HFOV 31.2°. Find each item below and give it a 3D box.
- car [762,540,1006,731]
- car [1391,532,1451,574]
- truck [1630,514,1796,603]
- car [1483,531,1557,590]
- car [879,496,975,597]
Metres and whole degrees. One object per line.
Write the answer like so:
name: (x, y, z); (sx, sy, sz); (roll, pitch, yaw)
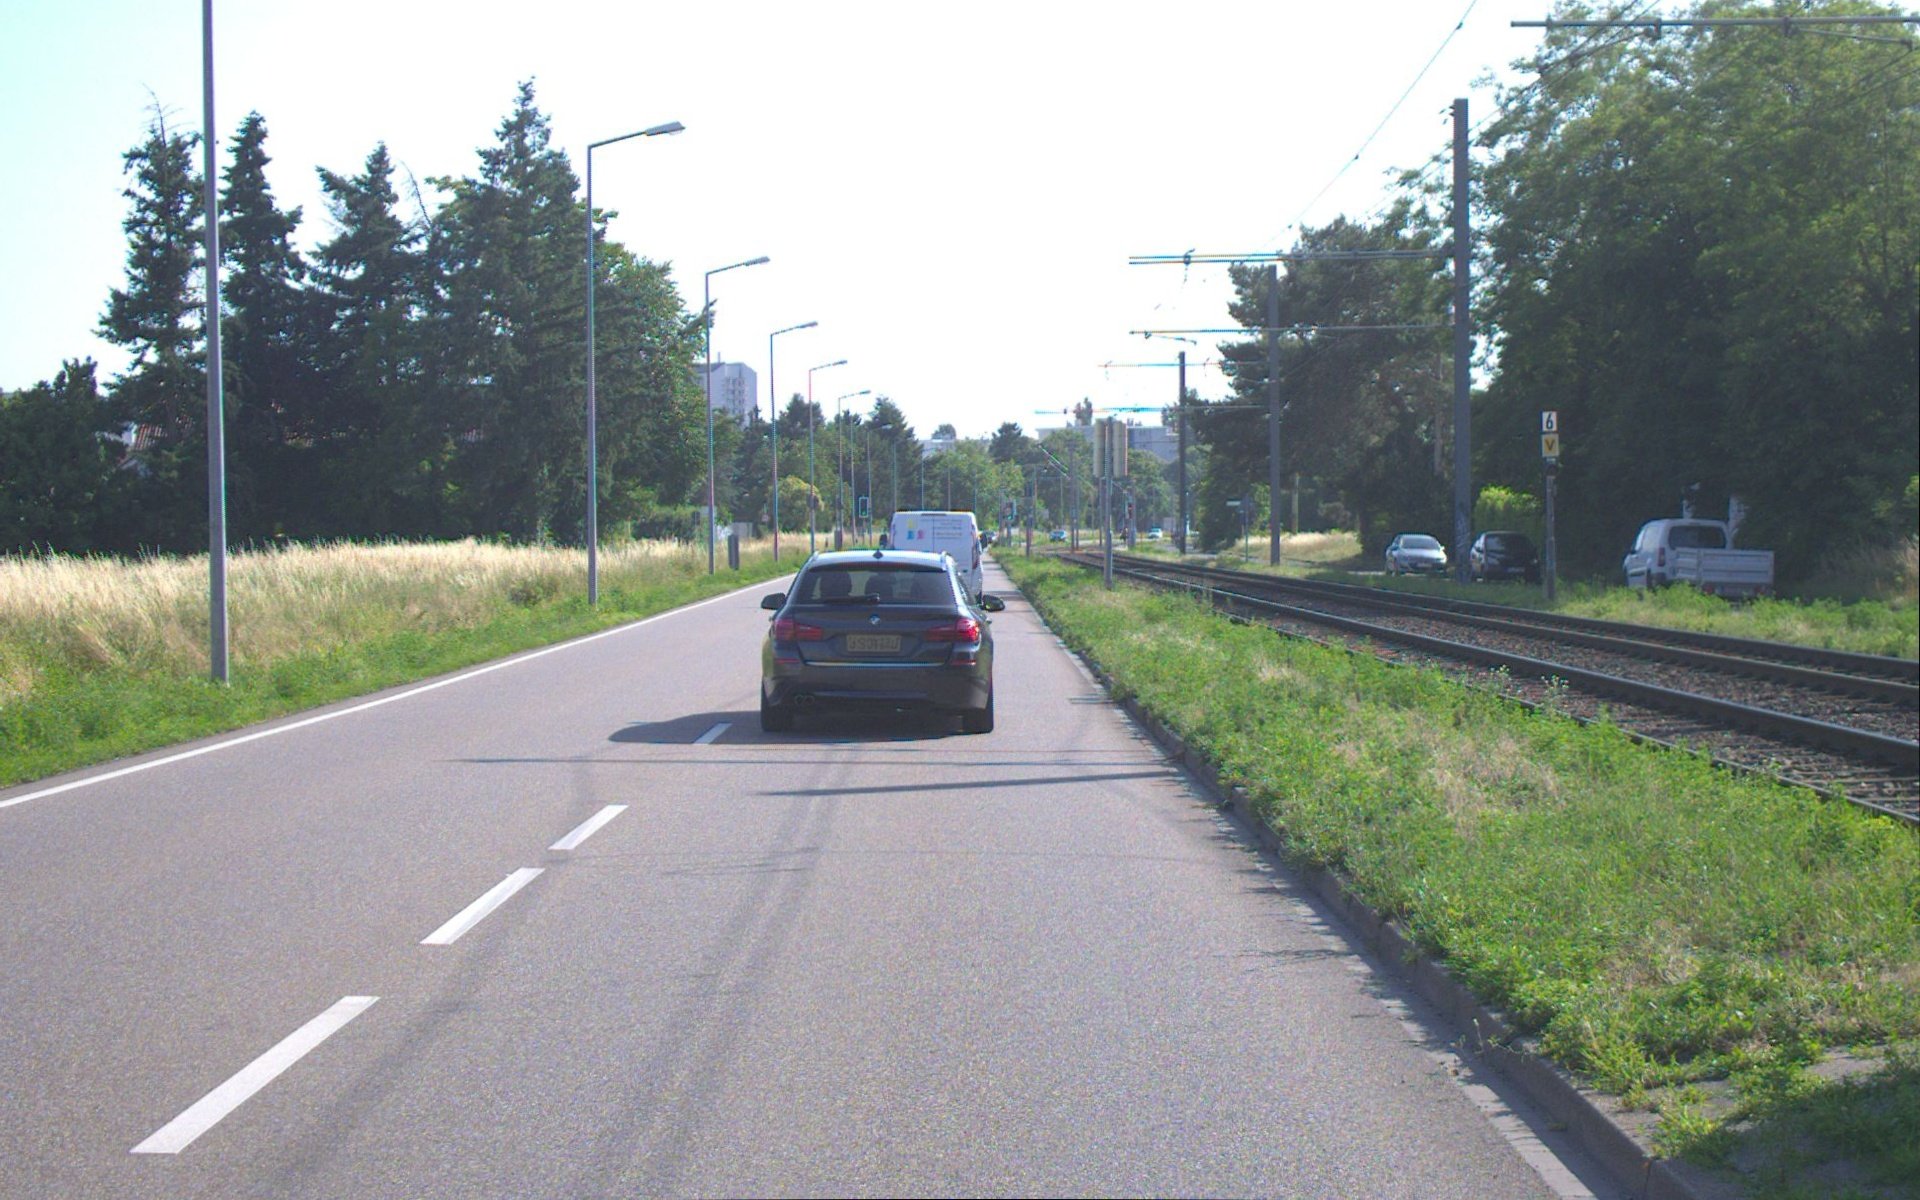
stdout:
car: (-0.577, 0.232, 28.887); (1.869, 1.447, 4.744); (1, 1, 0)
car: (16.019, -1.632, 119.630); (1.621, 1.394, 3.490); (1, 0, 0)
truck: (16.048, -0.916, 73.582); (2.204, 1.813, 5.930); (0, 1, 0)
car: (16.549, -1.152, 101.691); (1.735, 1.674, 3.544); (1, 0, 3)
car: (-0.710, -1.133, 70.404); (1.857, 1.981, 5.109); (1, 2, -1)
